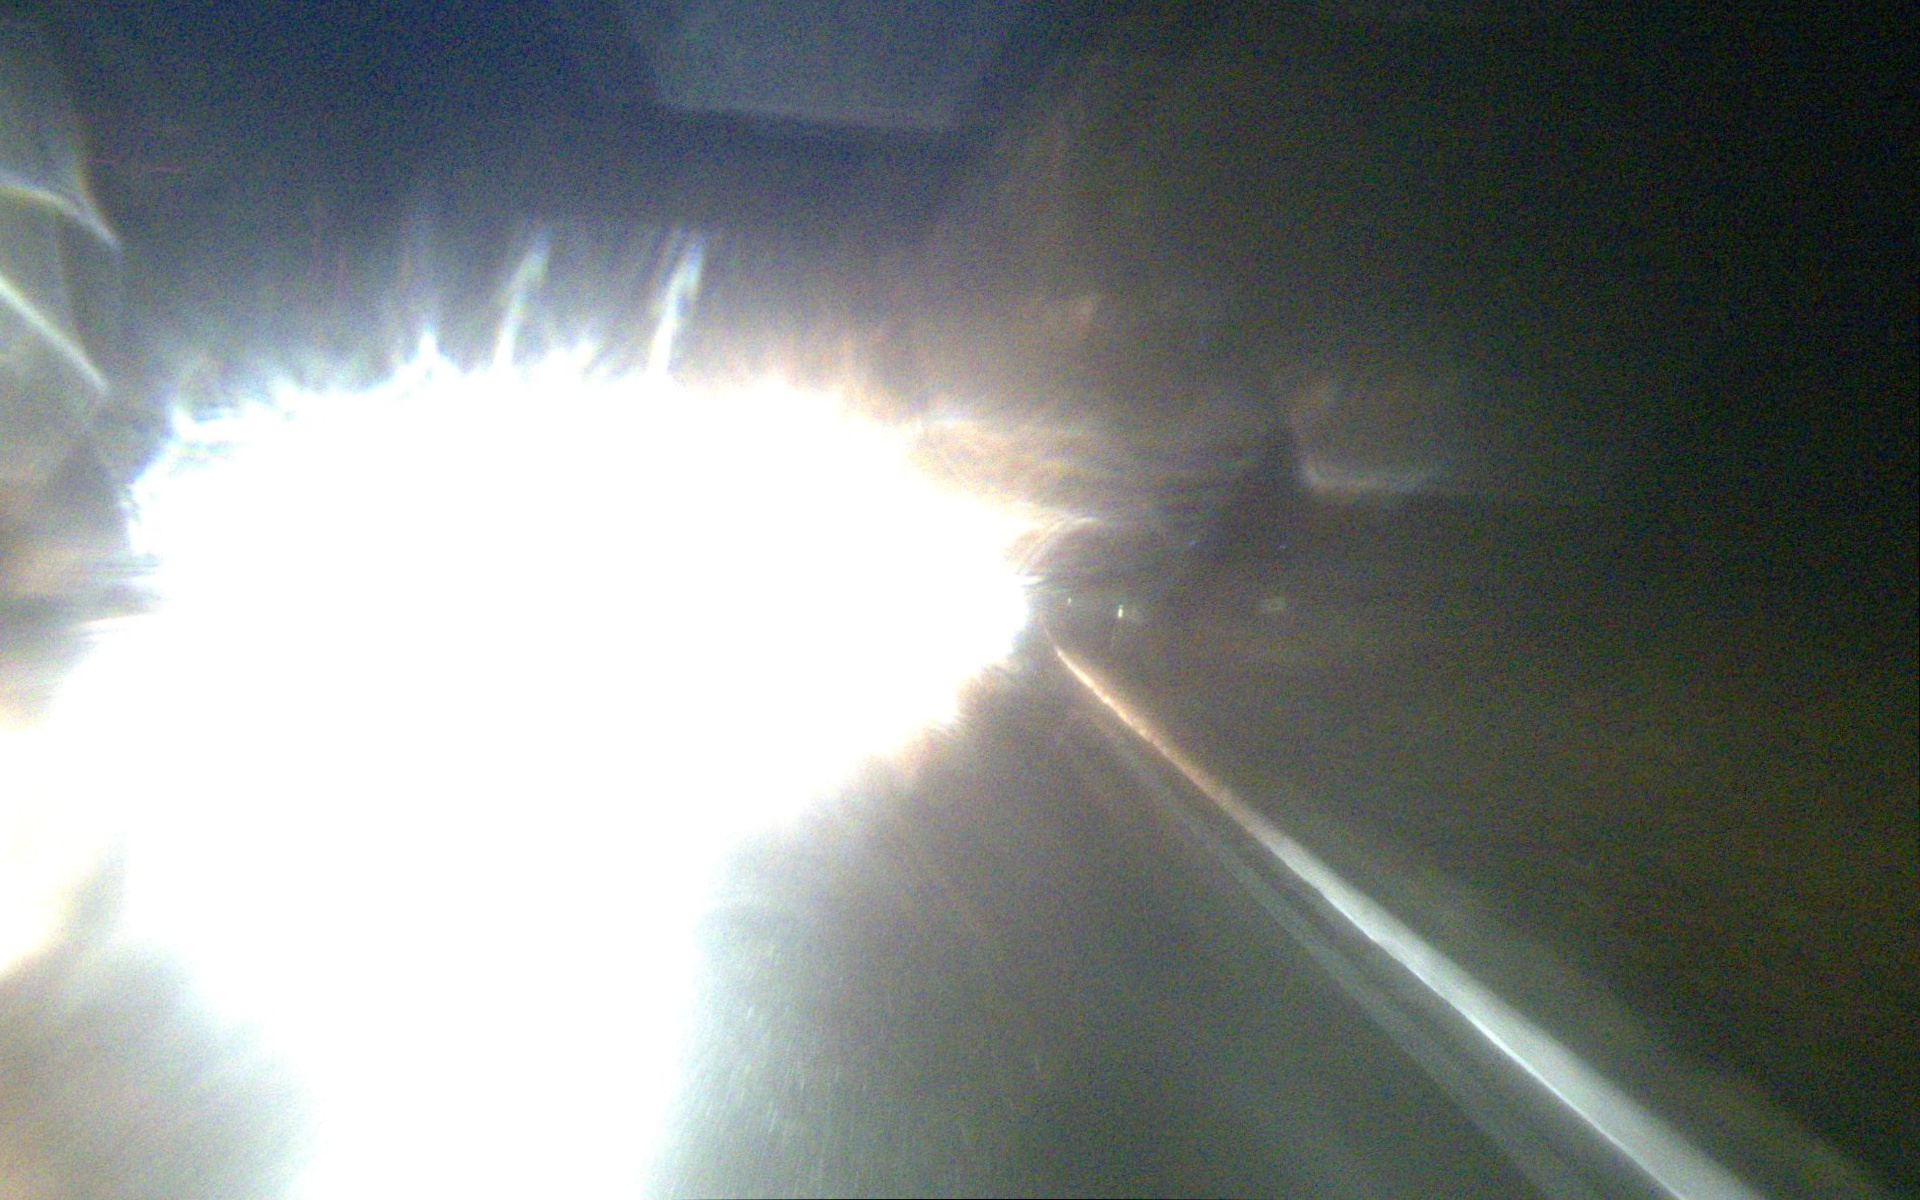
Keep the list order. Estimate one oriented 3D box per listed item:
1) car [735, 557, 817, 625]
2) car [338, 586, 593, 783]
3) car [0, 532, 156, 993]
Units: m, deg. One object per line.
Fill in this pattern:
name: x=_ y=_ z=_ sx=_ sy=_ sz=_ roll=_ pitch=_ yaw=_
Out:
car: x=-4.237 y=-0.223 z=79.703 sx=1.716 sy=1.512 sz=3.878 roll=-1 pitch=1 yaw=-1
car: x=-4.041 y=0.644 z=28.627 sx=1.644 sy=1.420 sz=4.124 roll=2 pitch=1 yaw=-2
car: x=-3.795 y=0.501 z=11.024 sx=1.644 sy=1.420 sz=3.659 roll=-1 pitch=1 yaw=-1
